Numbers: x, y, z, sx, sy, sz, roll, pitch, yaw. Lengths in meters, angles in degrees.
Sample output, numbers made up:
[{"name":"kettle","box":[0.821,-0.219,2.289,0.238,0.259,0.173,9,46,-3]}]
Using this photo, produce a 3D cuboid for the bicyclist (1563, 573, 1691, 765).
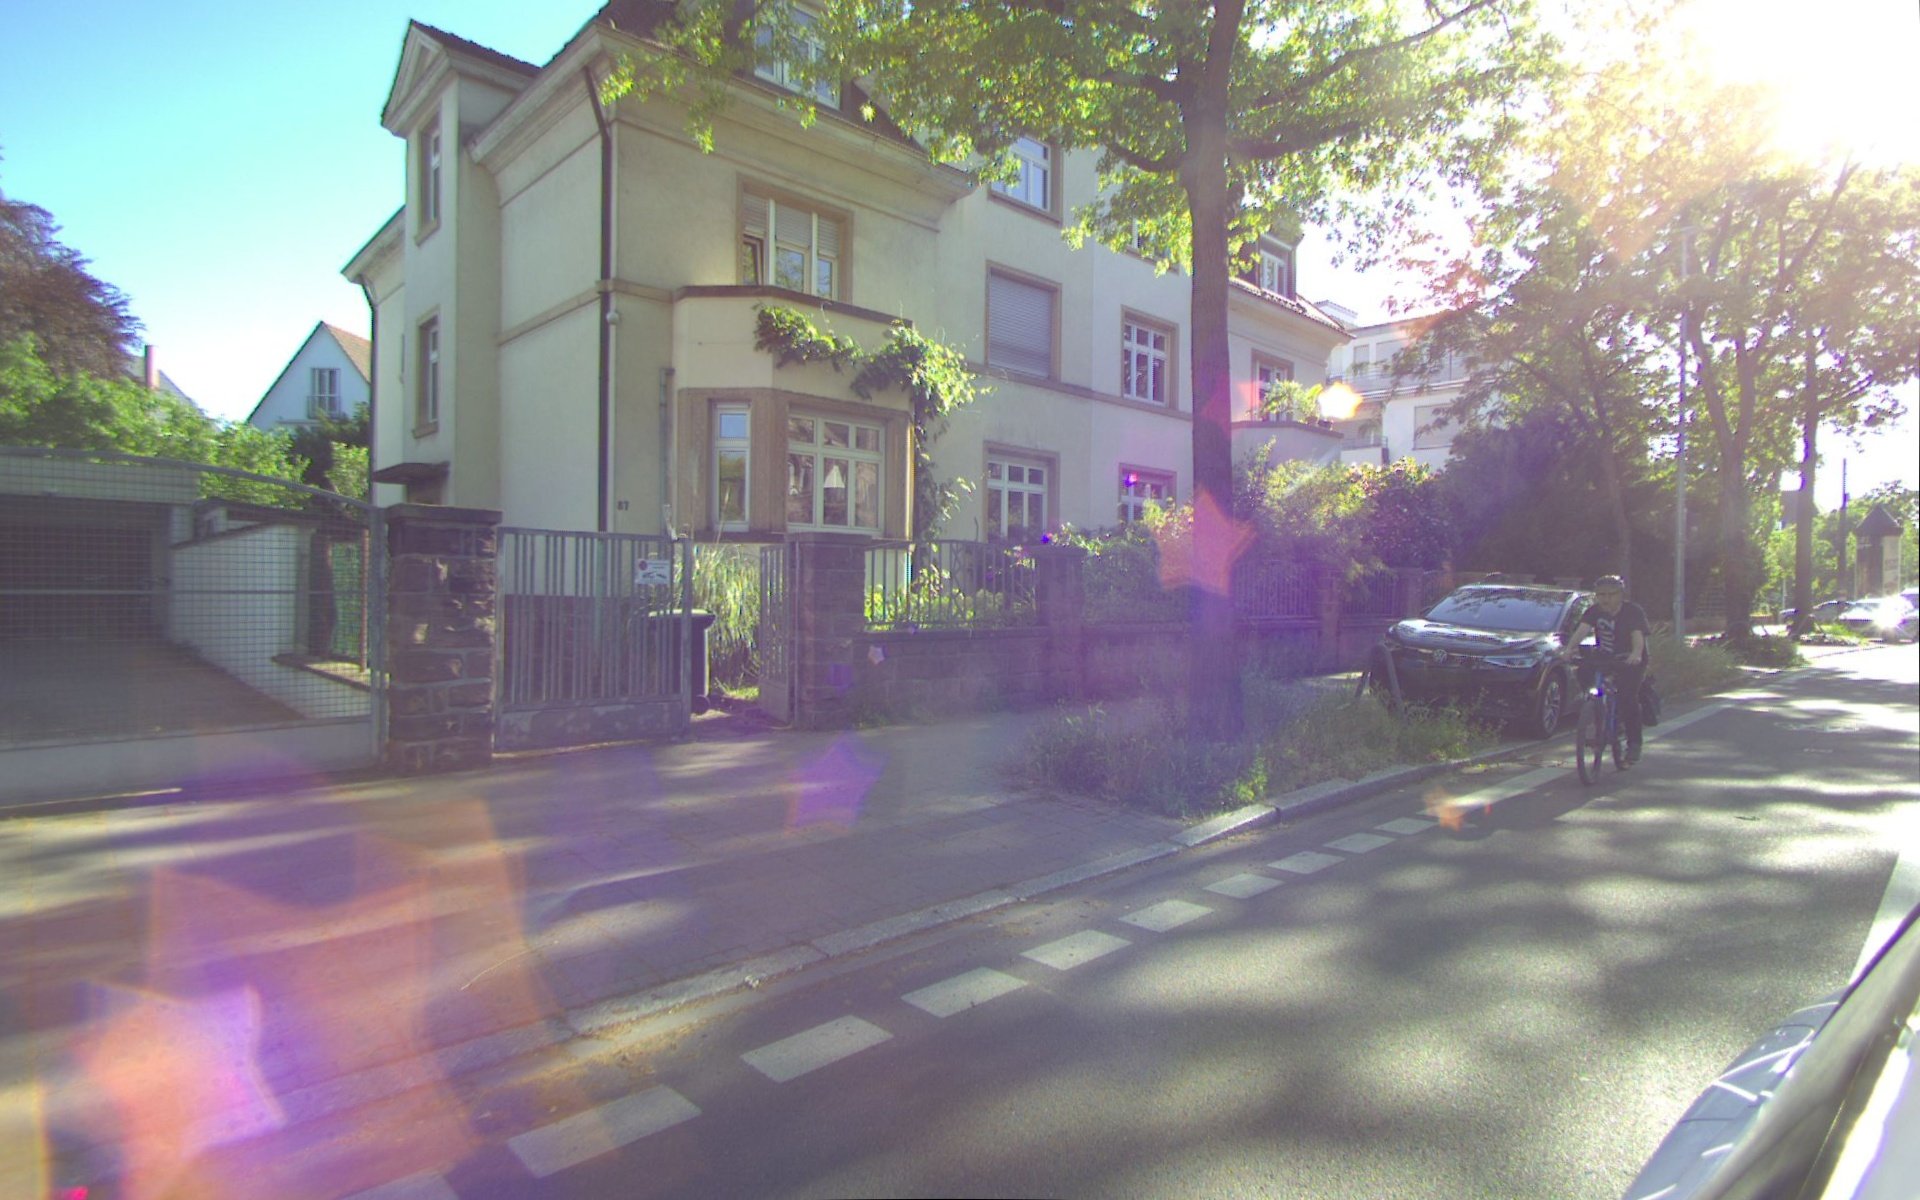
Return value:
[{"name":"bicyclist","box":[5.624,0.536,8.524,1.095,1.506,0.622,0,0,-41]}]

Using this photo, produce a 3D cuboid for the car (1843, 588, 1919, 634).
[{"name":"car","box":[31.554,0.333,34.422,3.930,1.469,1.785,0,1,-41]}]

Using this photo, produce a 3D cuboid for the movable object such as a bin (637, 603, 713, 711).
[{"name":"movable object such as a bin","box":[-3.068,0.580,10.854,0.697,1.070,1.093,0,0,-20]}]

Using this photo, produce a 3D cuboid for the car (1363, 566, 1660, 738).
[{"name":"car","box":[6.658,0.492,12.048,4.020,1.626,1.743,0,4,-41]}]

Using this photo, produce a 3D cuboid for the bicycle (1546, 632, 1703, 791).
[{"name":"bicycle","box":[5.635,0.875,8.540,1.783,1.158,0.644,0,0,-41]}]

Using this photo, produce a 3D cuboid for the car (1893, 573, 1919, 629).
[{"name":"car","box":[36.789,0.045,38.084,4.503,2.039,1.997,0,1,-41]}]
